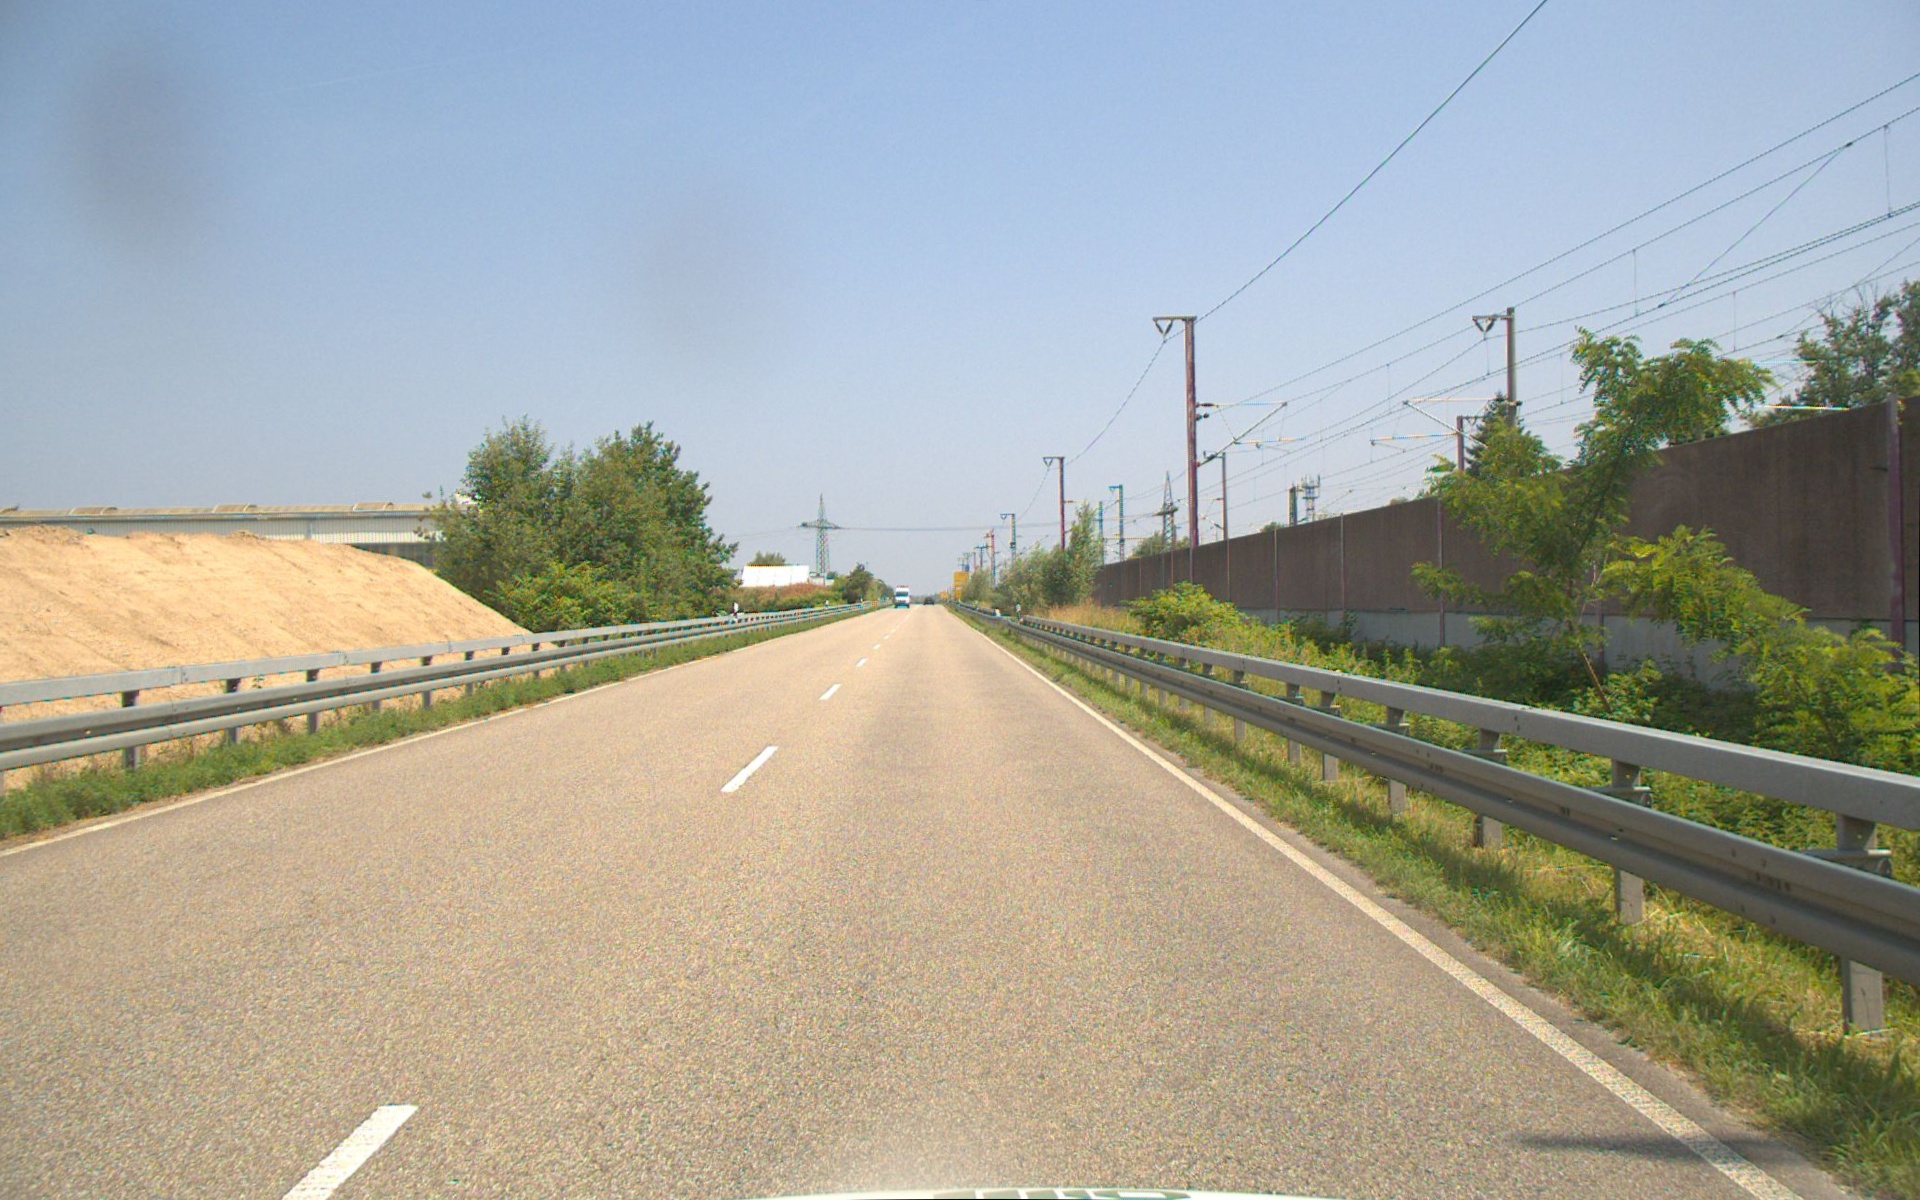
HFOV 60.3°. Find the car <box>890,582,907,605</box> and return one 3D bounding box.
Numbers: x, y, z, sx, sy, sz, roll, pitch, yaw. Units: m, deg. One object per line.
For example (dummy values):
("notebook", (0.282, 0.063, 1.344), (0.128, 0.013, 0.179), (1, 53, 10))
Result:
("car", (-7.961, -0.821, 215.039), (2.037, 3.014, 6.727), (1, 0, -2))
